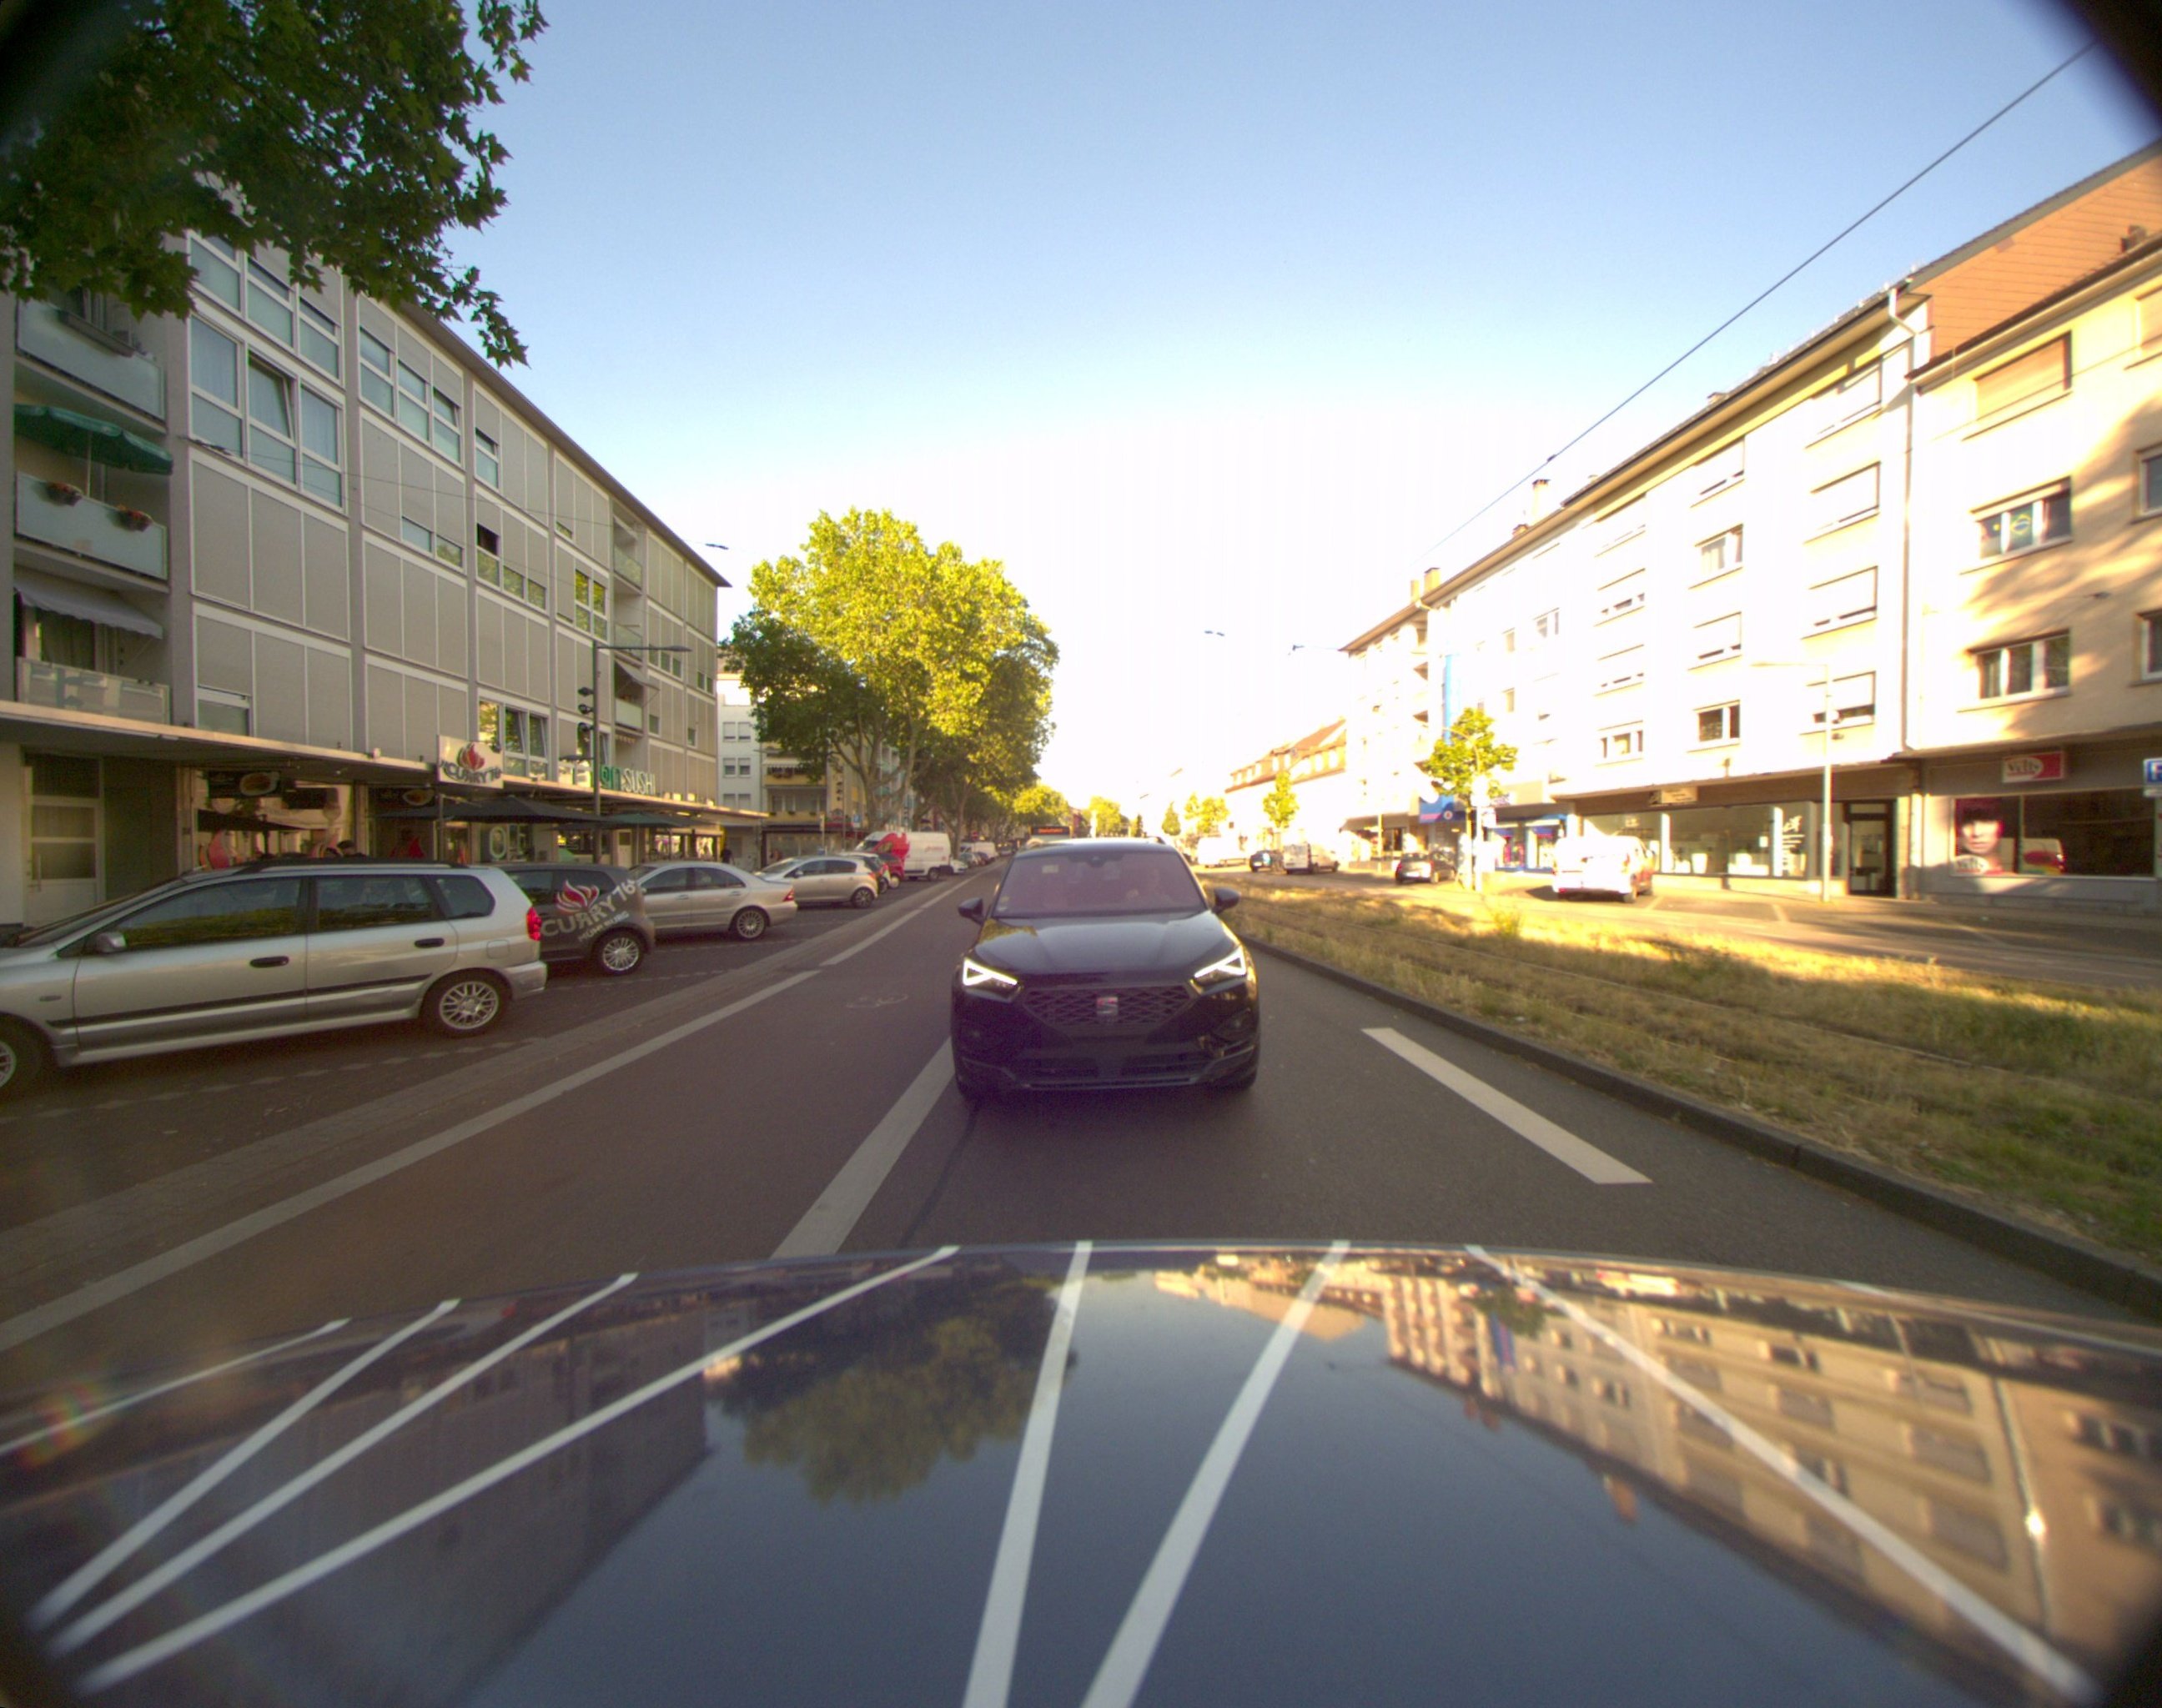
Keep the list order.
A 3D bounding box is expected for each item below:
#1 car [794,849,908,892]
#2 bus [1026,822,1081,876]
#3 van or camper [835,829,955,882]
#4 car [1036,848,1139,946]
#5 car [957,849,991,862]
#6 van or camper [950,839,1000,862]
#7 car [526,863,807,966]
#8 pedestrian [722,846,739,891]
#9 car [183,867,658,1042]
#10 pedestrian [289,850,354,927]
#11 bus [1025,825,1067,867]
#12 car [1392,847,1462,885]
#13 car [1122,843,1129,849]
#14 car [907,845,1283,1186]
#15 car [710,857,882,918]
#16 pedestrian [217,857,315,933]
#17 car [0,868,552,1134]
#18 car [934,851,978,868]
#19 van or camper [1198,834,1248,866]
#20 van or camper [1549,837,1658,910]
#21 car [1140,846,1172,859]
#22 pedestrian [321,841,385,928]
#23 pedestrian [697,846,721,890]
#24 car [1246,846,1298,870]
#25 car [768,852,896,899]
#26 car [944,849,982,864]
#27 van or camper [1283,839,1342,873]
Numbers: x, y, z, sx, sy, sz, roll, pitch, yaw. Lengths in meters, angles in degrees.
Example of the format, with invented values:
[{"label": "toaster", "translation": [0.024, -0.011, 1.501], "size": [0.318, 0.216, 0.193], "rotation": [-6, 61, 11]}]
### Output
[{"label": "car", "translation": [-9.096, 0.611, 30.217], "size": [4.008, 1.555, 1.654], "rotation": [0, 2, -44]}, {"label": "bus", "translation": [-1.981, -0.433, 48.964], "size": [2.873, 2.962, 12.231], "rotation": [-2, 2, -5]}, {"label": "van or camper", "translation": [-9.110, 0.052, 37.616], "size": [5.474, 2.455, 1.994], "rotation": [-1, 1, -44]}, {"label": "car", "translation": [0.058, 0.674, 14.208], "size": [1.659, 1.571, 3.999], "rotation": [0, 1, -1]}, {"label": "car", "translation": [-11.388, 0.163, 81.281], "size": [3.337, 1.339, 1.526], "rotation": [0, 2, -44]}, {"label": "van or camper", "translation": [-11.825, -0.375, 84.772], "size": [1.994, 2.455, 5.474], "rotation": [1, 1, 44]}, {"label": "car", "translation": [-7.125, 0.932, 13.371], "size": [1.654, 1.428, 4.008], "rotation": [2, 2, 43]}, {"label": "pedestrian", "translation": [-15.914, 0.637, 34.503], "size": [0.552, 2.002, 0.576], "rotation": [-3, 1, -18]}, {"label": "car", "translation": [-7.573, 0.960, 9.083], "size": [1.804, 1.498, 4.008], "rotation": [1, 1, 38]}, {"label": "pedestrian", "translation": [-14.248, 0.639, 14.272], "size": [0.538, 1.392, 0.686], "rotation": [2, 1, -5]}, {"label": "bus", "translation": [-2.972, -0.725, 61.069], "size": [2.873, 2.962, 12.231], "rotation": [-2, 2, -5]}, {"label": "car", "translation": [15.627, 0.504, 34.232], "size": [1.765, 1.482, 4.460], "rotation": [-1, 1, 39]}, {"label": "car", "translation": [14.269, -2.586, 243.879], "size": [1.869, 1.832, 3.826], "rotation": [0, 1, 2]}, {"label": "car", "translation": [0.097, 0.787, 5.776], "size": [1.808, 1.638, 3.999], "rotation": [-2, 1, 1]}, {"label": "car", "translation": [-7.612, 0.827, 20.515], "size": [4.008, 1.428, 1.654], "rotation": [0, 2, -44]}, {"label": "pedestrian", "translation": [-15.158, 0.742, 14.164], "size": [0.750, 1.354, 0.962], "rotation": [0, 1, 0]}, {"label": "car", "translation": [-6.911, 0.959, 6.100], "size": [1.804, 1.597, 4.008], "rotation": [1, 1, 38]}, {"label": "car", "translation": [-10.552, 0.468, 64.239], "size": [3.337, 1.339, 1.526], "rotation": [0, 2, -44]}, {"label": "van or camper", "translation": [12.910, -0.417, 68.564], "size": [1.994, 2.652, 6.410], "rotation": [-2, 1, 34]}, {"label": "van or camper", "translation": [15.833, 0.497, 22.902], "size": [1.946, 1.887, 4.824], "rotation": [-1, 1, 43]}, {"label": "car", "translation": [10.169, -0.201, 103.198], "size": [3.921, 1.482, 1.766], "rotation": [-3, 1, -27]}, {"label": "pedestrian", "translation": [-13.671, 0.564, 14.286], "size": [0.538, 1.582, 0.686], "rotation": [2, 1, -5]}, {"label": "pedestrian", "translation": [-13.523, 0.503, 27.604], "size": [0.538, 1.582, 0.686], "rotation": [2, 1, -5]}, {"label": "car", "translation": [13.752, 0.277, 54.658], "size": [1.874, 1.577, 4.008], "rotation": [-1, 1, 43]}, {"label": "car", "translation": [-8.791, 0.696, 27.023], "size": [4.008, 1.514, 1.654], "rotation": [0, 2, -44]}, {"label": "car", "translation": [-11.478, 0.248, 74.028], "size": [3.337, 1.339, 1.526], "rotation": [0, 2, -44]}, {"label": "van or camper", "translation": [14.587, 0.101, 47.797], "size": [1.795, 1.978, 4.460], "rotation": [-1, 1, 41]}]
